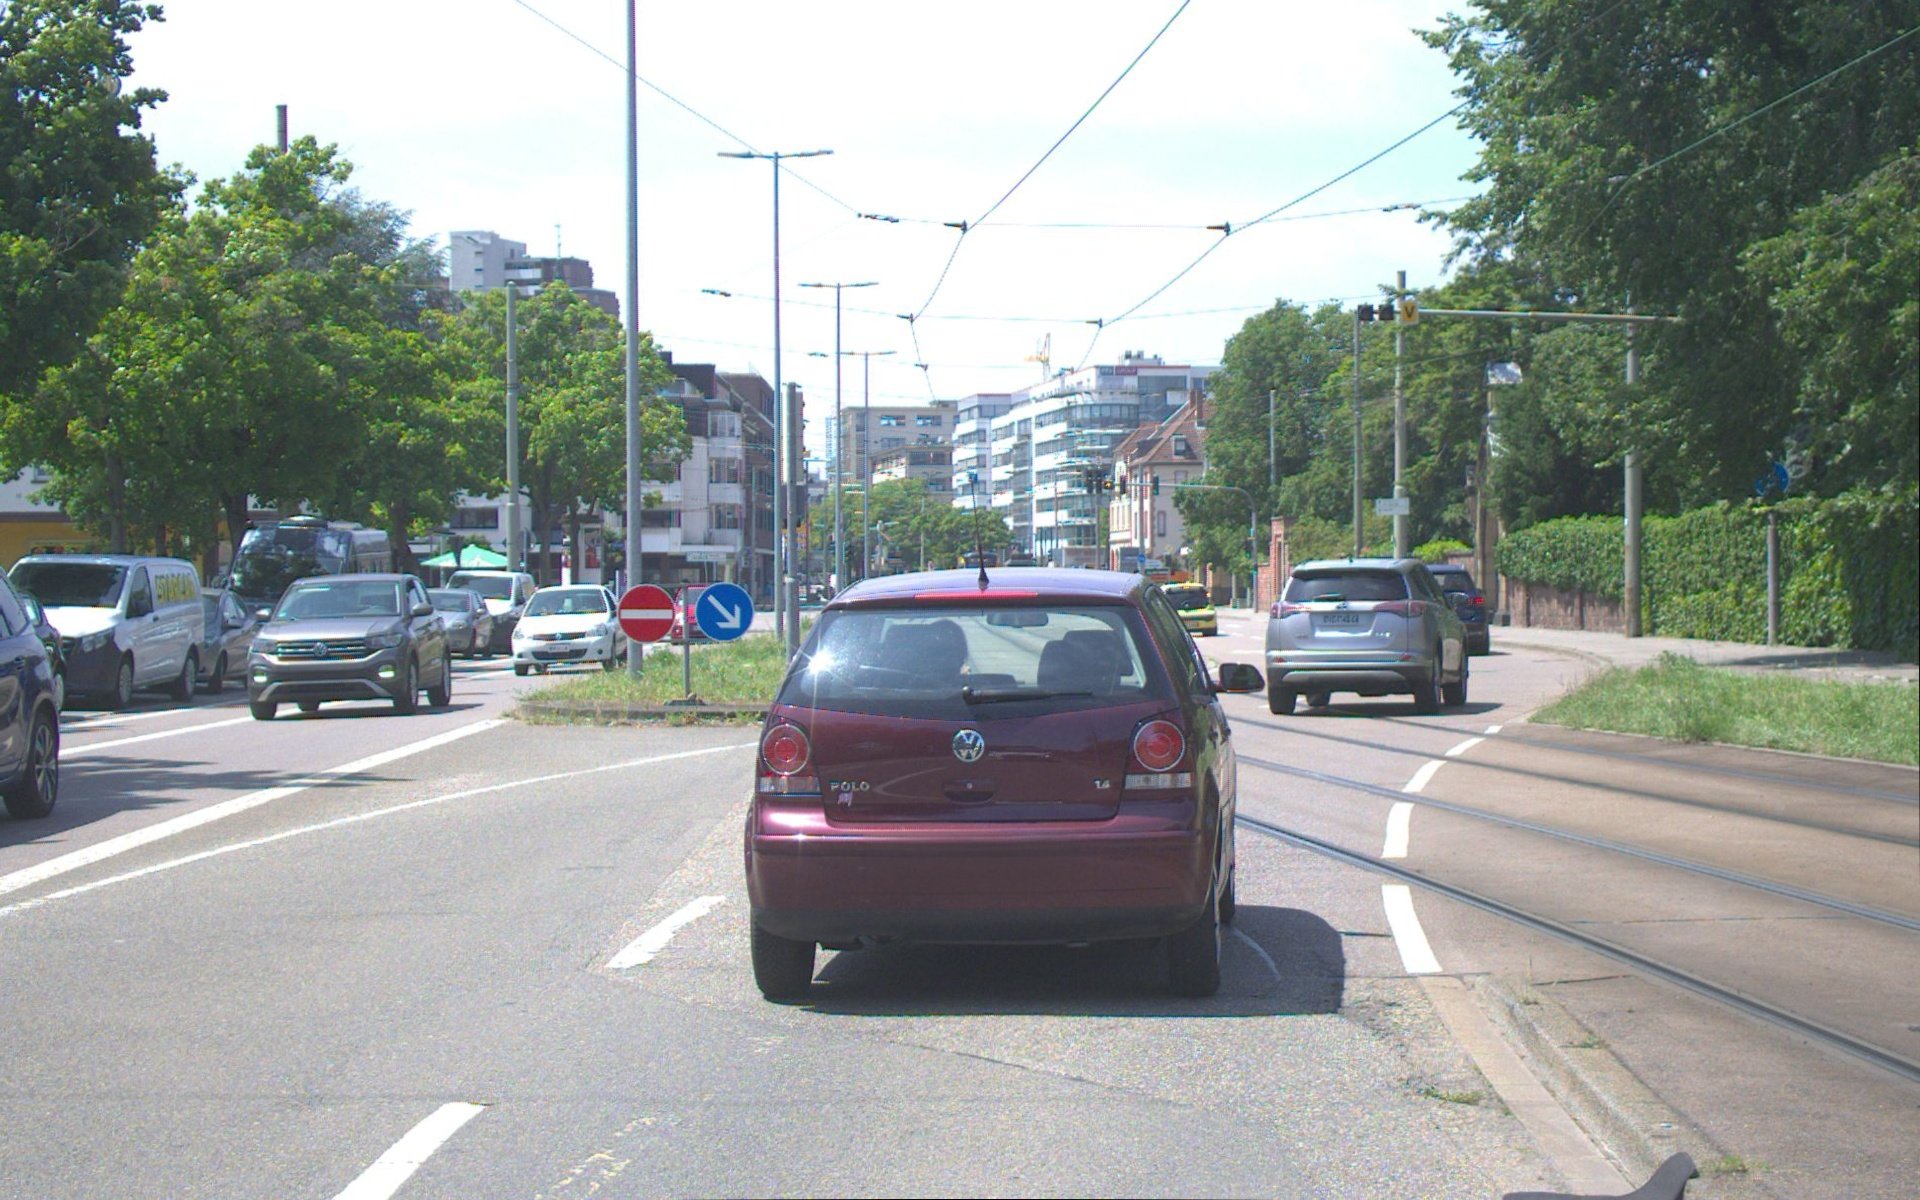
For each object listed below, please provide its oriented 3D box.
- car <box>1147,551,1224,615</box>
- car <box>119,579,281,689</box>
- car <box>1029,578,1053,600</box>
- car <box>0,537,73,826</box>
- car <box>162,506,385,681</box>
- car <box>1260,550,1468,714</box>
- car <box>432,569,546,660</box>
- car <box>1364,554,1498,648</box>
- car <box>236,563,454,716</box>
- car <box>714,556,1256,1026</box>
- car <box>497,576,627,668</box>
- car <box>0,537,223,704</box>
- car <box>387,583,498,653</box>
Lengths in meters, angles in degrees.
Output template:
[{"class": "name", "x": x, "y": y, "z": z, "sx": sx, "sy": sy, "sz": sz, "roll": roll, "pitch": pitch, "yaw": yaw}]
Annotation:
[{"class": "car", "x": 6.096, "y": -0.484, "z": 93.250, "sx": 1.795, "sy": 1.677, "sz": 4.000, "roll": -1, "pitch": 1, "yaw": 0}, {"class": "car", "x": -10.837, "y": 0.453, "z": 49.212, "sx": 1.405, "sy": 1.435, "sz": 3.839, "roll": 3, "pitch": 0, "yaw": 0}, {"class": "car", "x": 4.731, "y": -0.637, "z": 201.074, "sx": 1.354, "sy": 1.248, "sz": 2.972, "roll": 1, "pitch": 1, "yaw": 0}, {"class": "car", "x": -6.356, "y": 0.486, "z": 19.237, "sx": 1.737, "sy": 1.651, "sz": 4.067, "roll": -1, "pitch": 0, "yaw": -1}, {"class": "car", "x": -11.340, "y": -0.129, "z": 57.301, "sx": 2.398, "sy": 2.647, "sz": 6.173, "roll": 3, "pitch": 0, "yaw": 0}, {"class": "car", "x": 4.462, "y": 0.313, "z": 37.543, "sx": 1.796, "sy": 1.677, "sz": 3.998, "roll": 1, "pitch": 1, "yaw": 13}, {"class": "car", "x": -10.936, "y": 0.312, "z": 80.163, "sx": 1.875, "sy": 1.959, "sz": 5.164, "roll": 3, "pitch": 0, "yaw": 0}, {"class": "car", "x": 8.527, "y": -0.004, "z": 62.513, "sx": 1.774, "sy": 1.625, "sz": 4.000, "roll": 1, "pitch": 1, "yaw": -1}, {"class": "car", "x": -6.741, "y": 0.400, "z": 38.010, "sx": 1.737, "sy": 1.570, "sz": 3.713, "roll": -1, "pitch": 0, "yaw": -1}, {"class": "car", "x": 0.246, "y": 0.610, "z": 13.086, "sx": 1.610, "sy": 1.493, "sz": 3.999, "roll": -1, "pitch": 0, "yaw": 7}, {"class": "car", "x": -6.440, "y": 0.342, "z": 55.953, "sx": 1.648, "sy": 1.372, "sz": 3.811, "roll": -3, "pitch": 0, "yaw": 0}, {"class": "car", "x": -10.932, "y": 0.225, "z": 43.685, "sx": 1.863, "sy": 1.930, "sz": 4.805, "roll": 3, "pitch": 0, "yaw": 2}, {"class": "car", "x": -11.072, "y": 0.368, "z": 73.774, "sx": 1.631, "sy": 1.415, "sz": 3.866, "roll": 2, "pitch": 0, "yaw": 2}]
